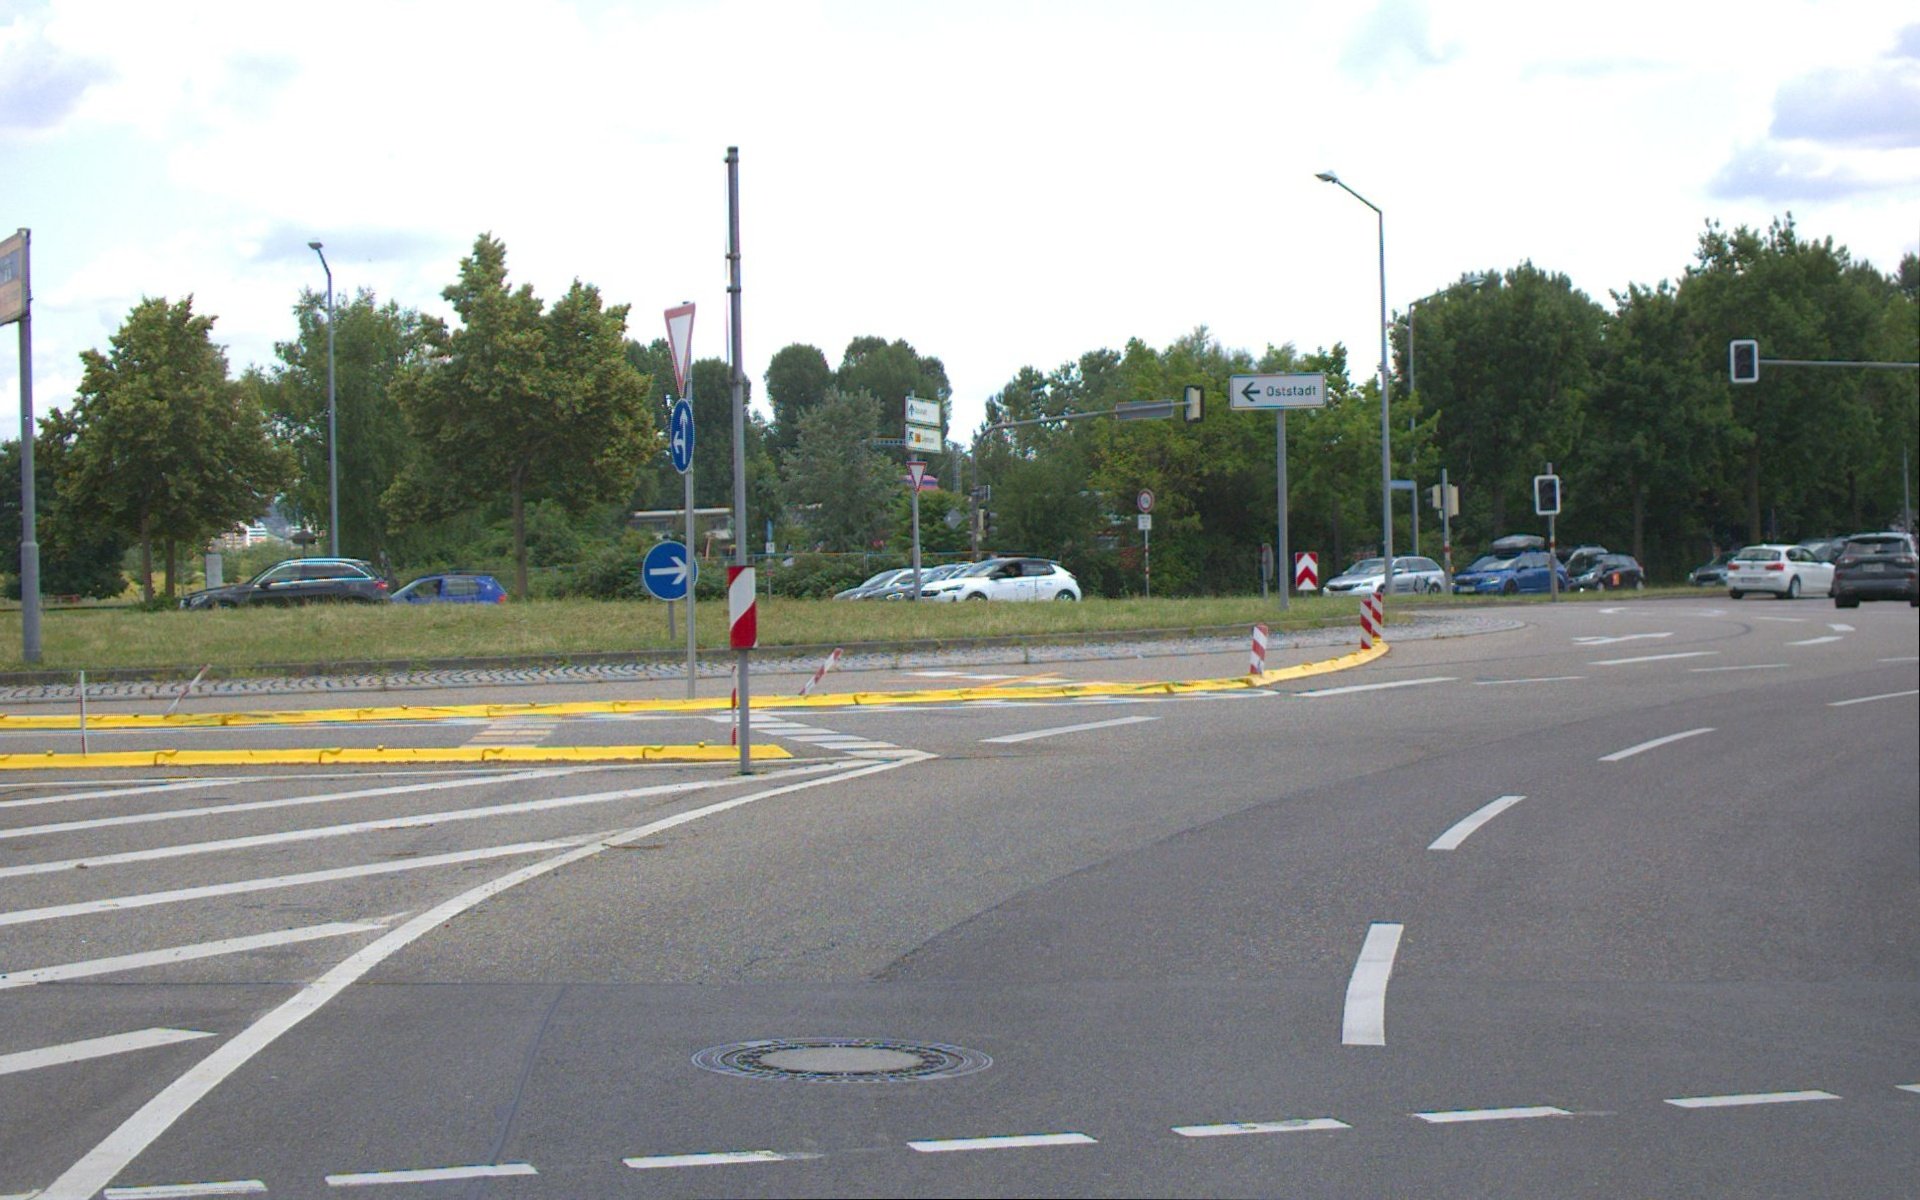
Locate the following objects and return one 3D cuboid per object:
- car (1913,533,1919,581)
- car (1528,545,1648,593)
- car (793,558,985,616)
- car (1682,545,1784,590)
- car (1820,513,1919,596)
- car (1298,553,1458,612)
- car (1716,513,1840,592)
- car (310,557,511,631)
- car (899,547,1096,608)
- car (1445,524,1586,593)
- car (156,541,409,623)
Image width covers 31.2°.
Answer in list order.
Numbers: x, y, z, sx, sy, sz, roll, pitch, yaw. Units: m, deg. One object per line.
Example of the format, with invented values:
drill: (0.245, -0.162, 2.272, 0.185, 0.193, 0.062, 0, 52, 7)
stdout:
car: (38.008, -1.665, 130.302, 1.842, 1.793, 4.777, -3, -1, 39)
car: (19.518, -0.966, 106.734, 1.801, 1.336, 3.970, -3, 0, 42)
car: (-1.739, -0.339, 85.373, 4.478, 1.318, 1.954, -2, 2, -38)
car: (25.661, -1.085, 114.086, 1.909, 1.418, 4.183, -1, 1, 34)
car: (20.044, -1.017, 74.860, 1.995, 1.620, 4.305, -4, 0, 20)
car: (11.760, -0.509, 96.582, 4.495, 1.516, 2.123, -2, 2, -44)
car: (21.629, -1.275, 90.835, 1.997, 2.007, 3.993, 0, 1, 32)
car: (-13.696, -0.157, 85.649, 4.709, 1.785, 1.849, 0, 0, -18)
car: (0.906, -0.546, 81.956, 4.298, 1.325, 2.000, -2, 1, -35)
car: (15.390, -1.164, 95.121, 1.754, 1.792, 4.397, 0, 2, 42)
car: (-14.887, -0.413, 75.576, 5.053, 1.669, 2.000, -2, 1, -28)
